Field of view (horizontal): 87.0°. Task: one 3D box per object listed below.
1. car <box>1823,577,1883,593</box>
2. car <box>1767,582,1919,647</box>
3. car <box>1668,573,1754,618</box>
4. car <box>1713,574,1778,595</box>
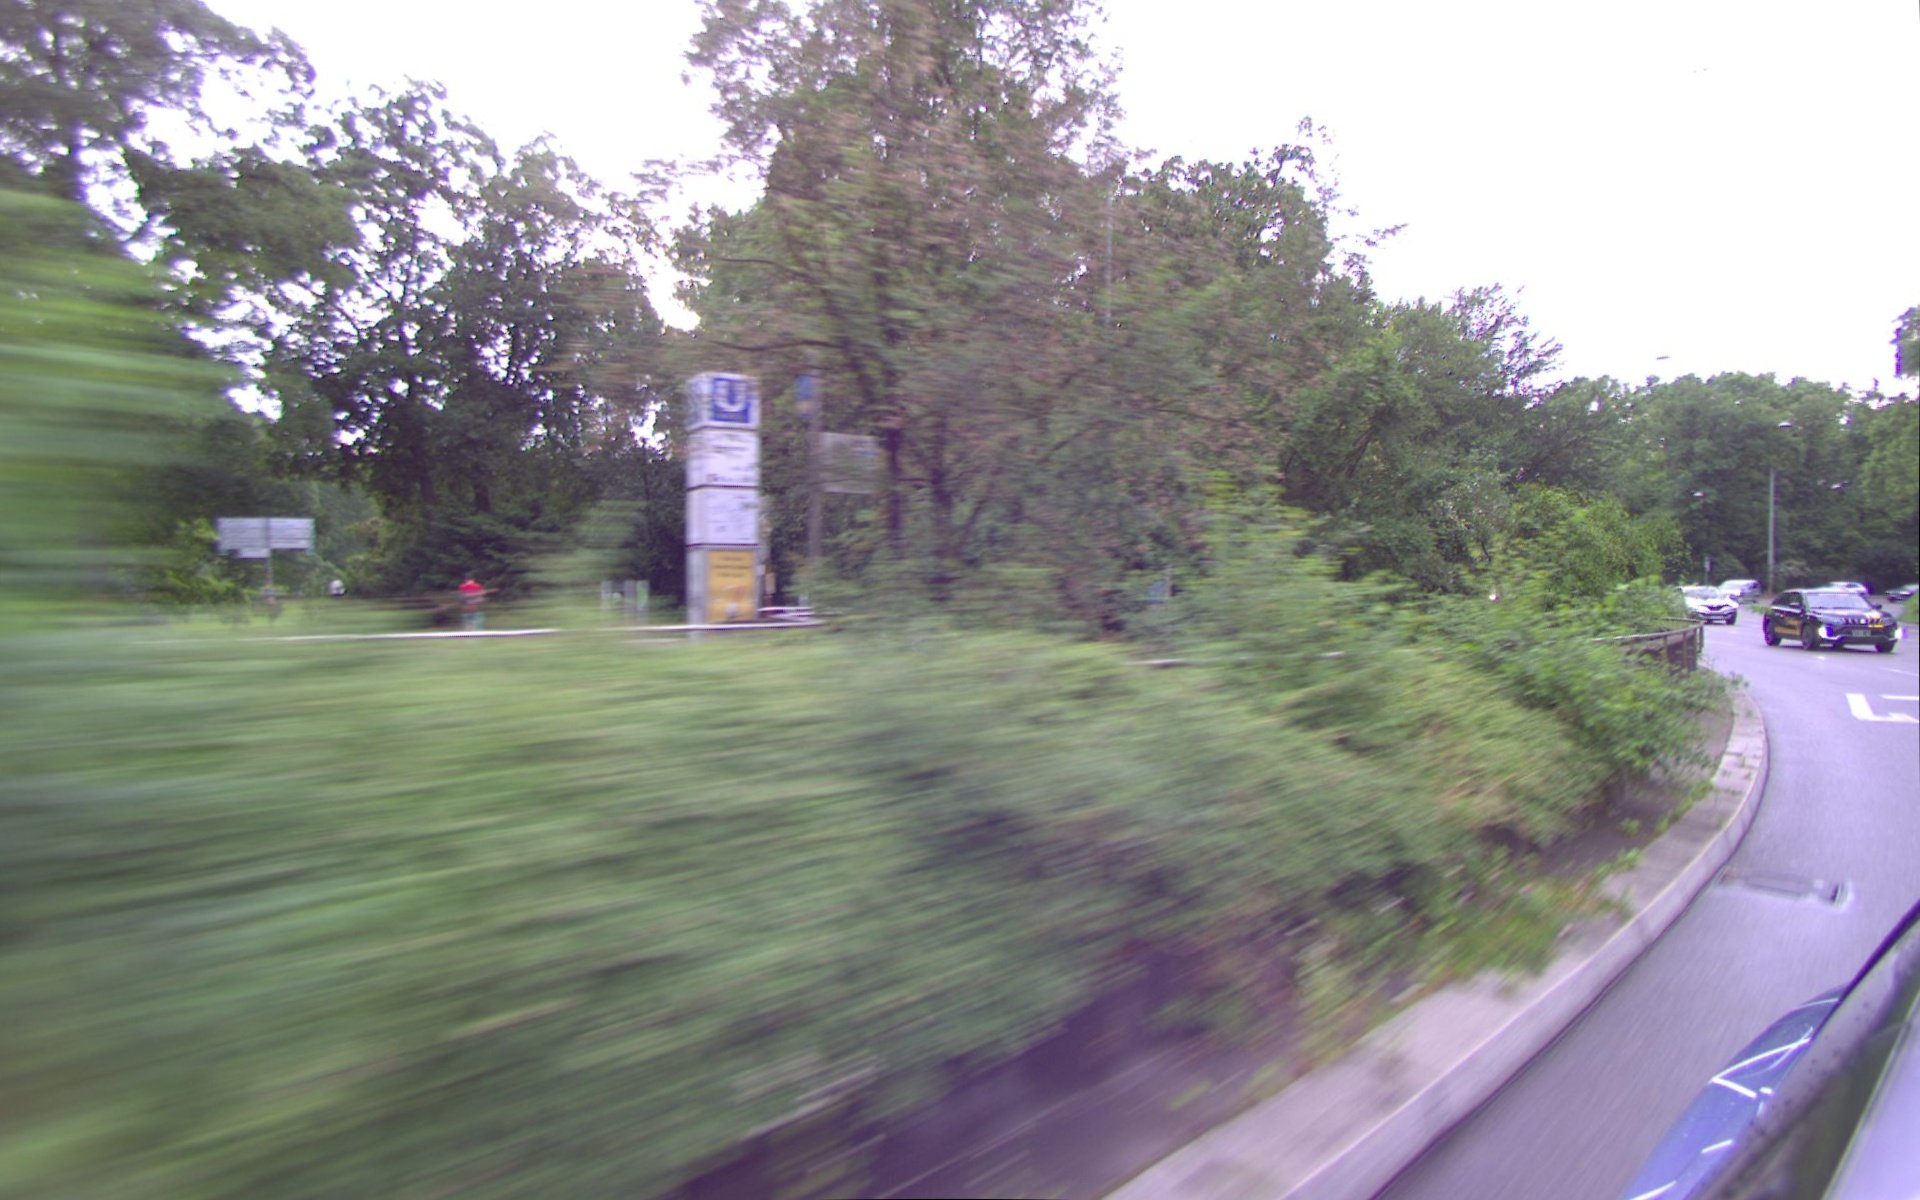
[{"bbox_3d":[77.755,-1.302,88.139,4.161,1.336,1.661,0,2,-11],"label":"car"},{"bbox_3d":[23.377,0.316,26.916,1.909,1.560,3.972,0,1,22],"label":"car"},{"bbox_3d":[32.516,-0.241,43.958,1.979,1.766,4.618,1,2,24],"label":"car"},{"bbox_3d":[61.751,-1.248,79.563,4.410,1.561,2.219,-1,2,-24],"label":"car"}]
